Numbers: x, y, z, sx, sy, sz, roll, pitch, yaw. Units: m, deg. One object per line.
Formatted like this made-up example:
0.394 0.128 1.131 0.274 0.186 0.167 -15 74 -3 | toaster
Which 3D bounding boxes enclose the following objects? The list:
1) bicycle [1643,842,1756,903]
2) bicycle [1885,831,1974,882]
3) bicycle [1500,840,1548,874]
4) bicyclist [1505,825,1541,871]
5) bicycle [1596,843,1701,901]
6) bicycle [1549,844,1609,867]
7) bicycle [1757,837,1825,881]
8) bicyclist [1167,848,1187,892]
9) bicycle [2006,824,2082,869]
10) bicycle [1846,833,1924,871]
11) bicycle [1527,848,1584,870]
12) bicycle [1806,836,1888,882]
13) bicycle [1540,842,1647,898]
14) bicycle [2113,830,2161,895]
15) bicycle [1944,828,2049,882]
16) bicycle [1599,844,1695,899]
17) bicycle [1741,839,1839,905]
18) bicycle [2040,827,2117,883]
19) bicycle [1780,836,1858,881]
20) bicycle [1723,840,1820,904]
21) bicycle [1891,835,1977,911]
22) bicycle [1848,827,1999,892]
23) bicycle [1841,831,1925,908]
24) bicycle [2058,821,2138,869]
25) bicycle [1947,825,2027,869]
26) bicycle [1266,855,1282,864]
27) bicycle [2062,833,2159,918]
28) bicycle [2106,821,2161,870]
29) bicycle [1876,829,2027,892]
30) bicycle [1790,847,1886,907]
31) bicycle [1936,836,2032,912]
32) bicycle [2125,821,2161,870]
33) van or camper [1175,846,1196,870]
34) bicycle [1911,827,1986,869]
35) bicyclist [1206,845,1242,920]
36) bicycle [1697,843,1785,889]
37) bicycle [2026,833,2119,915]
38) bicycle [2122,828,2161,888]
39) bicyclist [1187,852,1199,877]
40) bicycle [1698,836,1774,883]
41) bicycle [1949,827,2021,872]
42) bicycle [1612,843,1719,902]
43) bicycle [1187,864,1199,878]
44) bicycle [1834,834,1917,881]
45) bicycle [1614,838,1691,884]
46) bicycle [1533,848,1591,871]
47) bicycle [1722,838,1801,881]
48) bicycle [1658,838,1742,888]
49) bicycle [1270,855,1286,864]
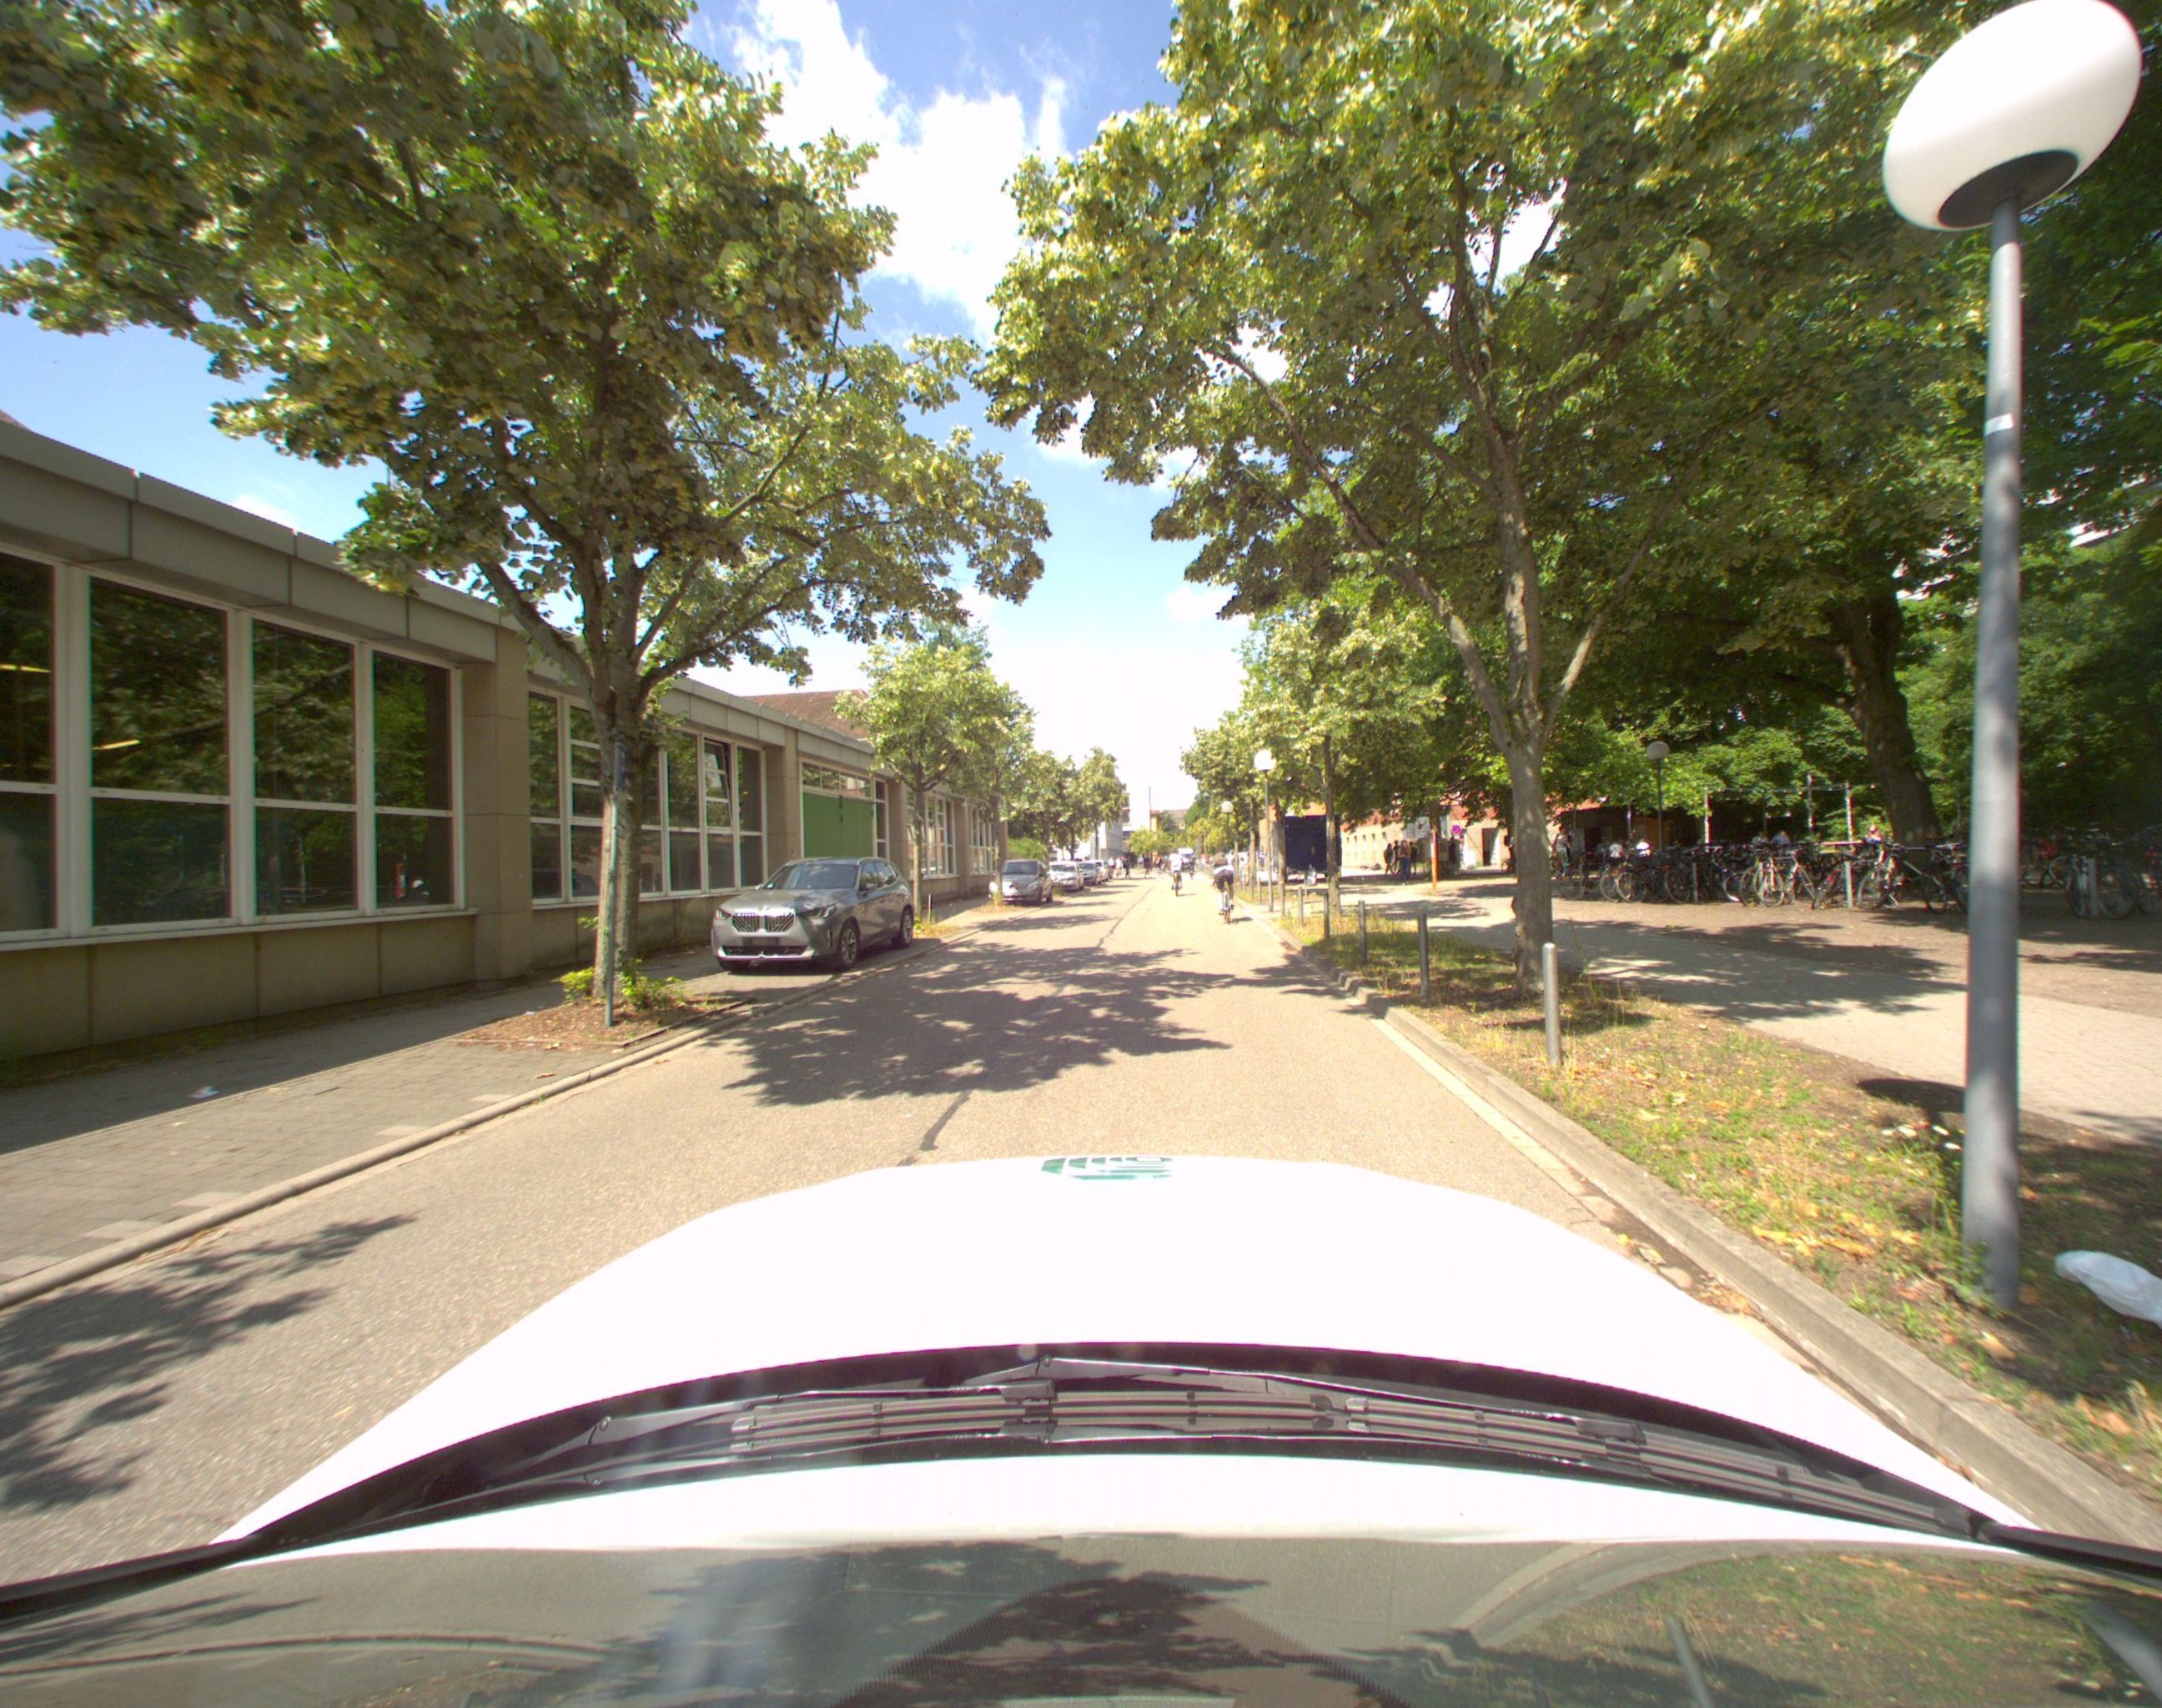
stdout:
11.892 0.347 15.671 1.940 1.082 0.404 -2 0 -6 | bicycle
18.240 0.052 17.508 1.902 0.979 0.476 -3 -1 -17 | bicycle
16.991 0.124 31.281 0.530 1.252 1.729 -4 0 -13 | bicycle
16.968 -0.210 31.283 0.530 1.729 1.074 -4 0 -13 | bicyclist
11.694 0.366 16.792 1.940 1.082 0.404 -2 0 -6 | bicycle
24.365 0.079 39.909 2.377 1.072 0.786 -1 -1 18 | bicycle
17.729 0.124 20.325 1.905 0.979 0.418 -3 -1 -22 | bicycle
3.893 0.625 32.867 0.766 1.756 0.850 0 -1 8 | bicyclist
24.066 -0.186 20.358 1.781 1.039 0.476 -3 -1 -15 | bicycle
23.135 -0.064 23.427 1.955 0.979 0.610 -3 -1 -13 | bicycle
24.437 0.258 41.985 2.376 1.072 0.787 -2 -1 19 | bicycle
17.846 0.115 18.966 1.901 0.979 0.419 -3 -1 -16 | bicycle
11.466 0.350 18.251 2.011 1.167 0.650 -2 0 -6 | bicycle
17.409 0.124 13.333 1.914 0.979 0.473 -2 -1 -42 | bicycle
18.686 0.017 16.621 1.901 0.979 0.609 -3 -1 -16 | bicycle
11.937 0.358 17.194 1.764 1.082 0.437 -2 0 -6 | bicycle
12.579 0.305 14.440 1.912 1.059 0.323 -2 0 -17 | bicycle
19.326 0.017 15.775 1.908 0.979 0.531 -3 -1 -28 | bicycle
17.839 0.115 19.680 1.903 0.979 0.475 -3 -1 -19 | bicycle
12.506 0.311 14.740 1.912 1.059 0.323 -2 0 -17 | bicycle
13.054 0.268 12.451 1.744 1.052 0.490 -2 0 -30 | bicycle
15.342 0.117 14.902 0.478 1.082 1.895 -3 -1 -14 | bicycle
13.064 0.228 13.253 1.744 1.155 0.490 -2 0 -30 | bicycle
24.425 -0.218 19.560 1.829 1.039 0.476 -3 -1 -15 | bicycle
23.948 -0.186 21.529 1.955 1.039 0.476 -3 -1 -13 | bicycle
23.571 0.657 99.556 1.800 0.985 0.561 -3 -1 6 | bicycle
13.775 0.271 10.884 1.796 1.028 0.379 -2 0 -25 | bicycle
24.329 -0.208 18.657 1.750 1.039 0.346 -3 -1 -15 | bicycle
16.210 0.136 15.237 0.478 1.082 1.895 -3 -1 -14 | bicycle
12.662 0.372 13.615 1.740 0.909 0.491 -2 0 -23 | bicycle
13.455 0.282 12.124 1.800 1.028 0.436 -2 0 -26 | bicycle
24.418 -0.215 18.310 1.750 1.039 0.476 -3 -1 -15 | bicycle
11.401 0.486 88.520 1.981 2.446 4.581 -3 -1 10 | van or camper
23.660 -0.169 22.205 1.955 1.039 0.433 -3 -1 -13 | bicycle
3.259 0.633 18.643 0.713 1.662 1.097 -1 -1 7 | bicyclist
15.732 0.271 19.415 1.901 0.979 0.609 -3 -1 -16 | bicycle
13.716 0.257 11.250 1.796 1.028 0.378 -2 0 -26 | bicycle
19.177 0.052 14.389 1.906 0.979 0.475 -3 -1 -24 | bicycle
7.869 0.745 57.271 0.804 1.756 0.694 -1 -1 7 | bicyclist
17.566 0.146 21.851 1.900 1.143 0.476 -3 -1 -13 | bicycle
23.278 -0.118 20.974 1.781 1.039 0.432 -3 -1 -15 | bicycle
11.740 0.371 16.364 1.940 1.082 0.404 -2 0 -6 | bicycle
7.870 1.190 57.237 0.804 1.002 2.128 -1 -1 8 | bicycle
18.125 0.075 18.568 1.901 0.979 0.419 -3 -1 -16 | bicycle
15.253 0.180 21.737 1.807 1.118 0.609 -3 -1 -16 | bicycle
24.249 0.275 41.084 2.379 1.072 0.786 -2 -1 13 | bicycle
17.493 0.144 20.935 1.900 0.979 0.476 -3 -1 -13 | bicycle
15.519 0.222 20.432 1.901 1.118 0.609 -3 -1 -16 | bicycle
23.149 0.656 95.700 1.800 0.985 0.561 -3 -1 6 | bicycle
